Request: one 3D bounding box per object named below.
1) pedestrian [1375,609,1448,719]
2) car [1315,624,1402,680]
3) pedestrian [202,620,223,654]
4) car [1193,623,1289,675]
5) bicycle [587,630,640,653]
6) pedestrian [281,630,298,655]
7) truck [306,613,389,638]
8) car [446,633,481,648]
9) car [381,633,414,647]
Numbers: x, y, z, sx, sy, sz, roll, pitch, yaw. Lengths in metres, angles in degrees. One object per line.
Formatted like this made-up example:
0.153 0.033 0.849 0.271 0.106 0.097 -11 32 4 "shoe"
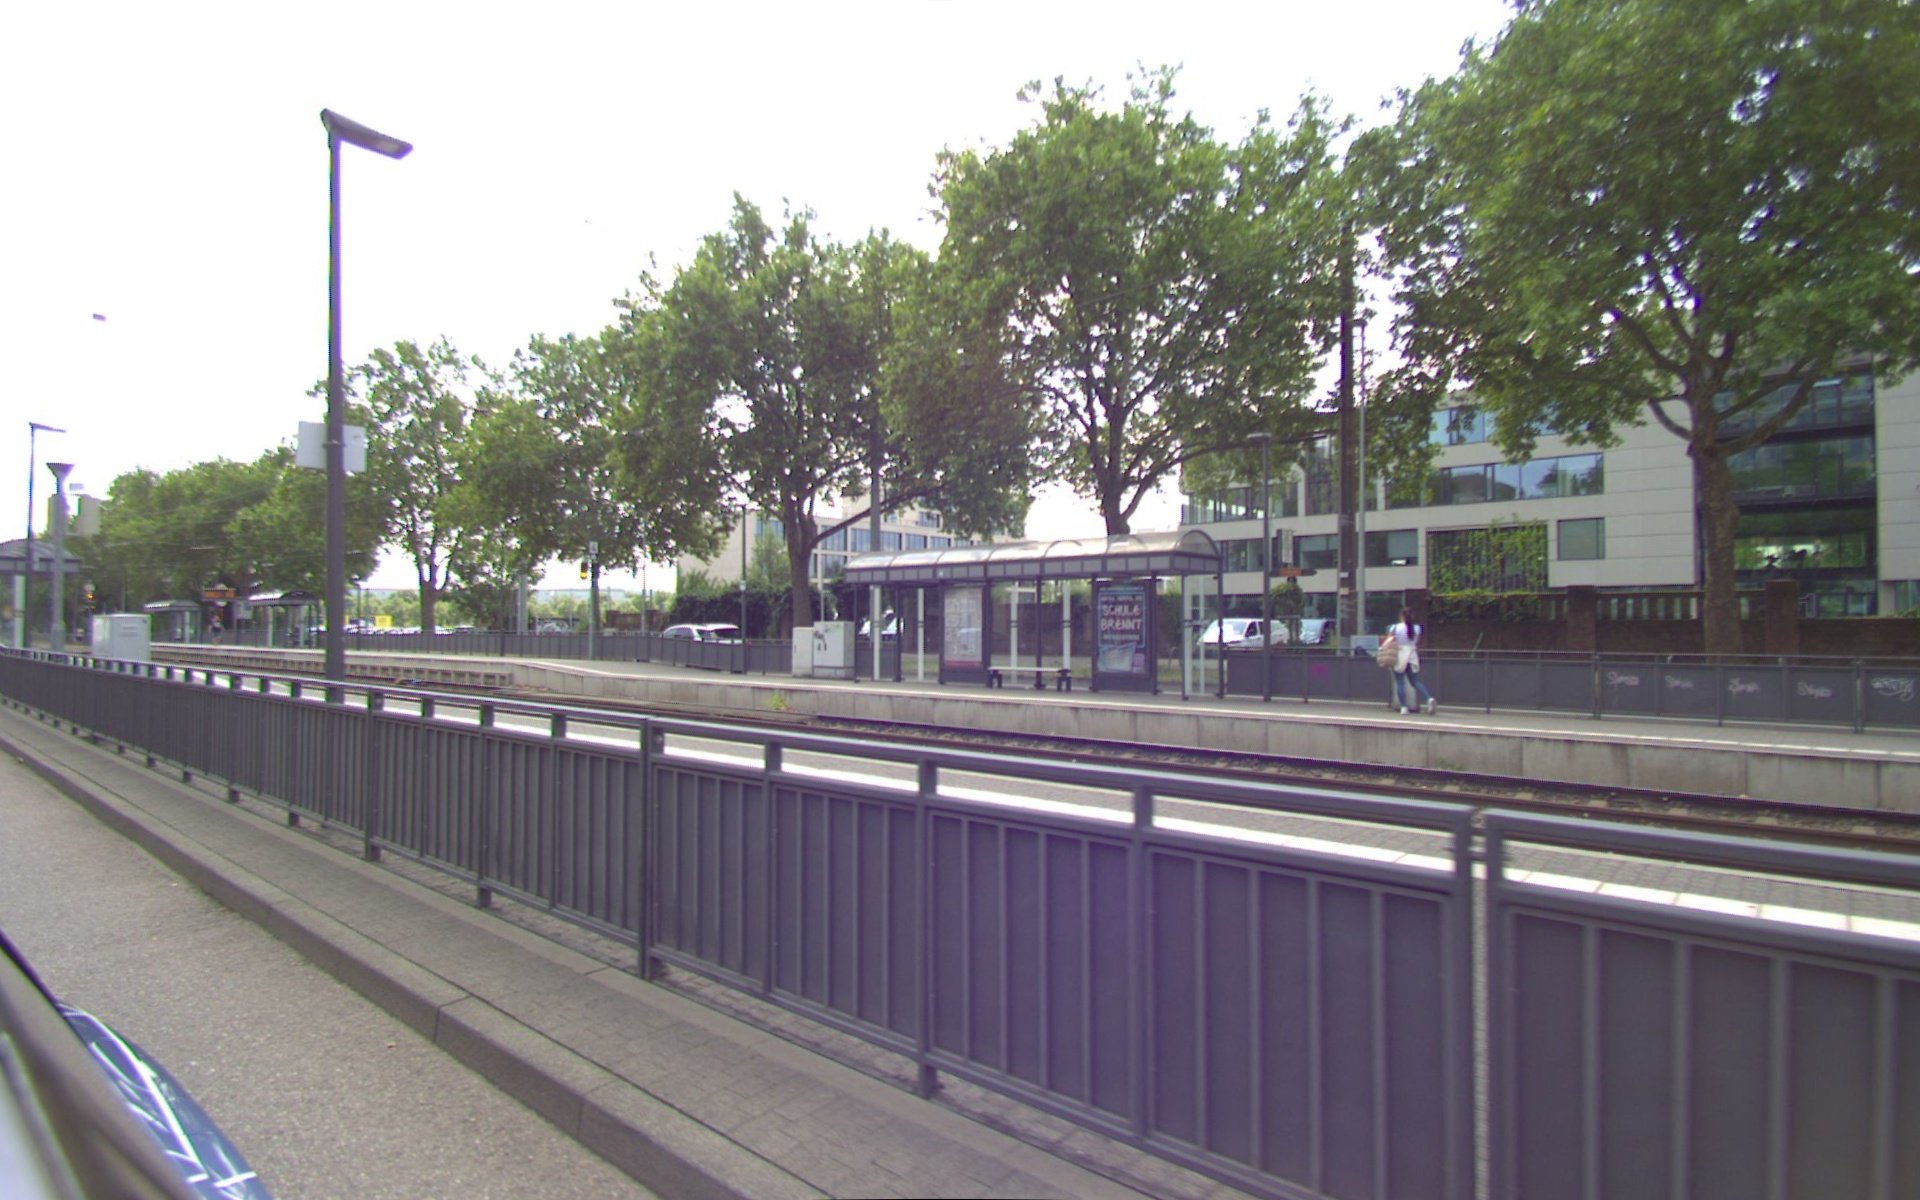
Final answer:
6.475 0.906 14.509 0.802 1.524 0.695 -1 -3 38 "pedestrian"
15.524 2.017 39.319 1.959 2.049 4.094 -1 -4 41 "car"
-41.770 2.078 56.584 0.863 1.859 0.699 -2 -2 37 "pedestrian"
11.578 2.026 41.526 1.936 2.004 4.774 -1 -4 41 "car"
-20.887 2.495 60.991 3.003 1.176 0.635 -2 0 -44 "bicycle"
-34.803 2.189 52.526 0.768 1.279 0.546 -2 -3 43 "pedestrian"
-112.597 4.753 186.207 2.748 4.105 12.648 -2 -4 43 "truck"
-50.280 4.130 102.424 3.998 1.487 1.779 -2 -3 41 "car"
-60.441 4.268 108.711 3.998 1.487 1.779 -2 -3 41 "car"
